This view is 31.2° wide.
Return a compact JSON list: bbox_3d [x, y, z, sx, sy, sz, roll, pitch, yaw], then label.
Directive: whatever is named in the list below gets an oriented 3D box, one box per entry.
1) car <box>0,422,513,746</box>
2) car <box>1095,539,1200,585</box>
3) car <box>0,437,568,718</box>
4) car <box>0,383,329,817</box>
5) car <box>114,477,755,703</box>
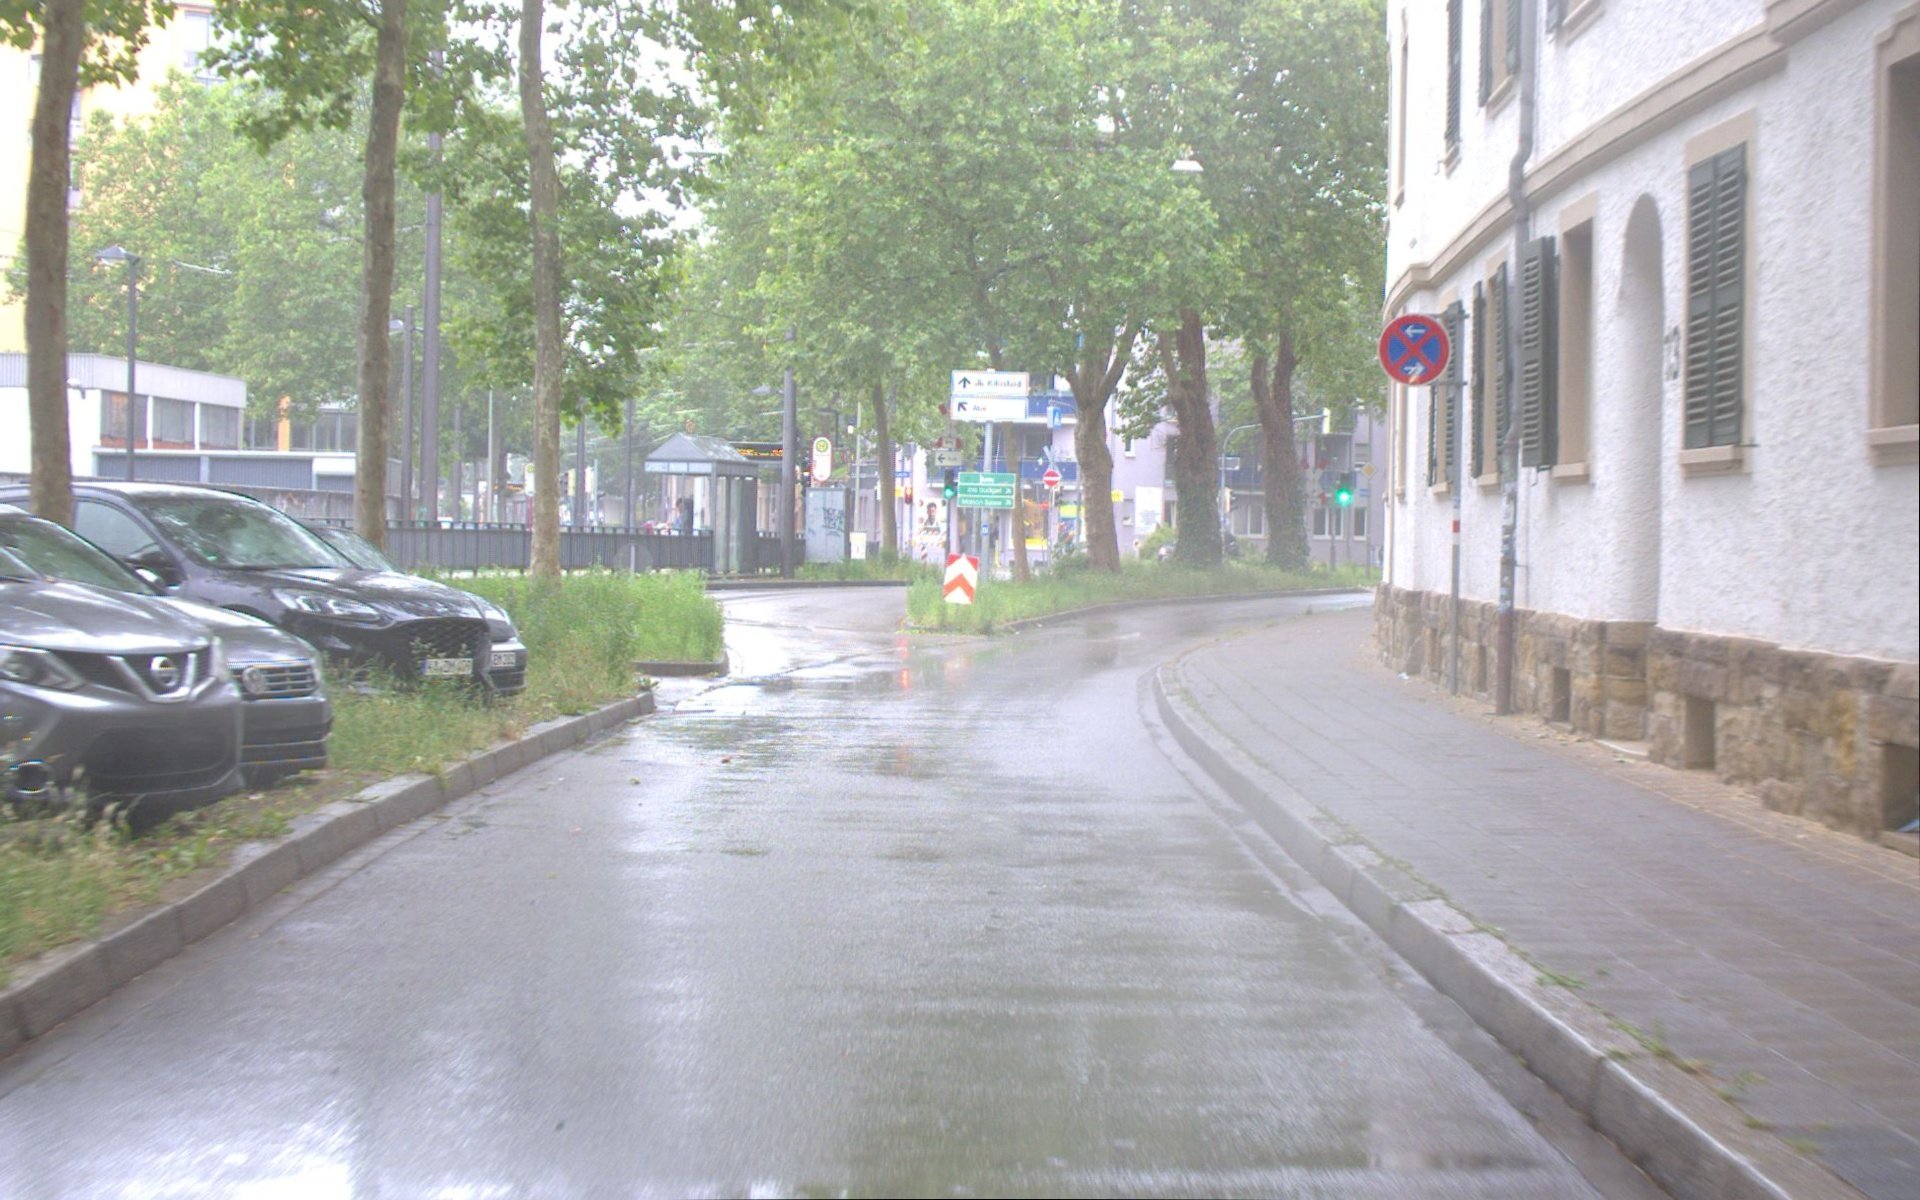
[{"bbox_3d":[-4.765,-0.120,18.104,4.554,1.516,1.920,2,0,32],"label":"car"},{"bbox_3d":[7.714,-1.557,141.255,3.988,1.592,1.999,4,0,-43],"label":"car"},{"bbox_3d":[-5.016,-0.202,22.876,4.525,1.709,1.957,1,2,31],"label":"car"},{"bbox_3d":[-5.086,-0.104,14.422,4.465,1.591,1.920,3,1,26],"label":"car"},{"bbox_3d":[-3.850,-0.132,25.011,4.358,1.507,1.957,1,2,31],"label":"car"}]
